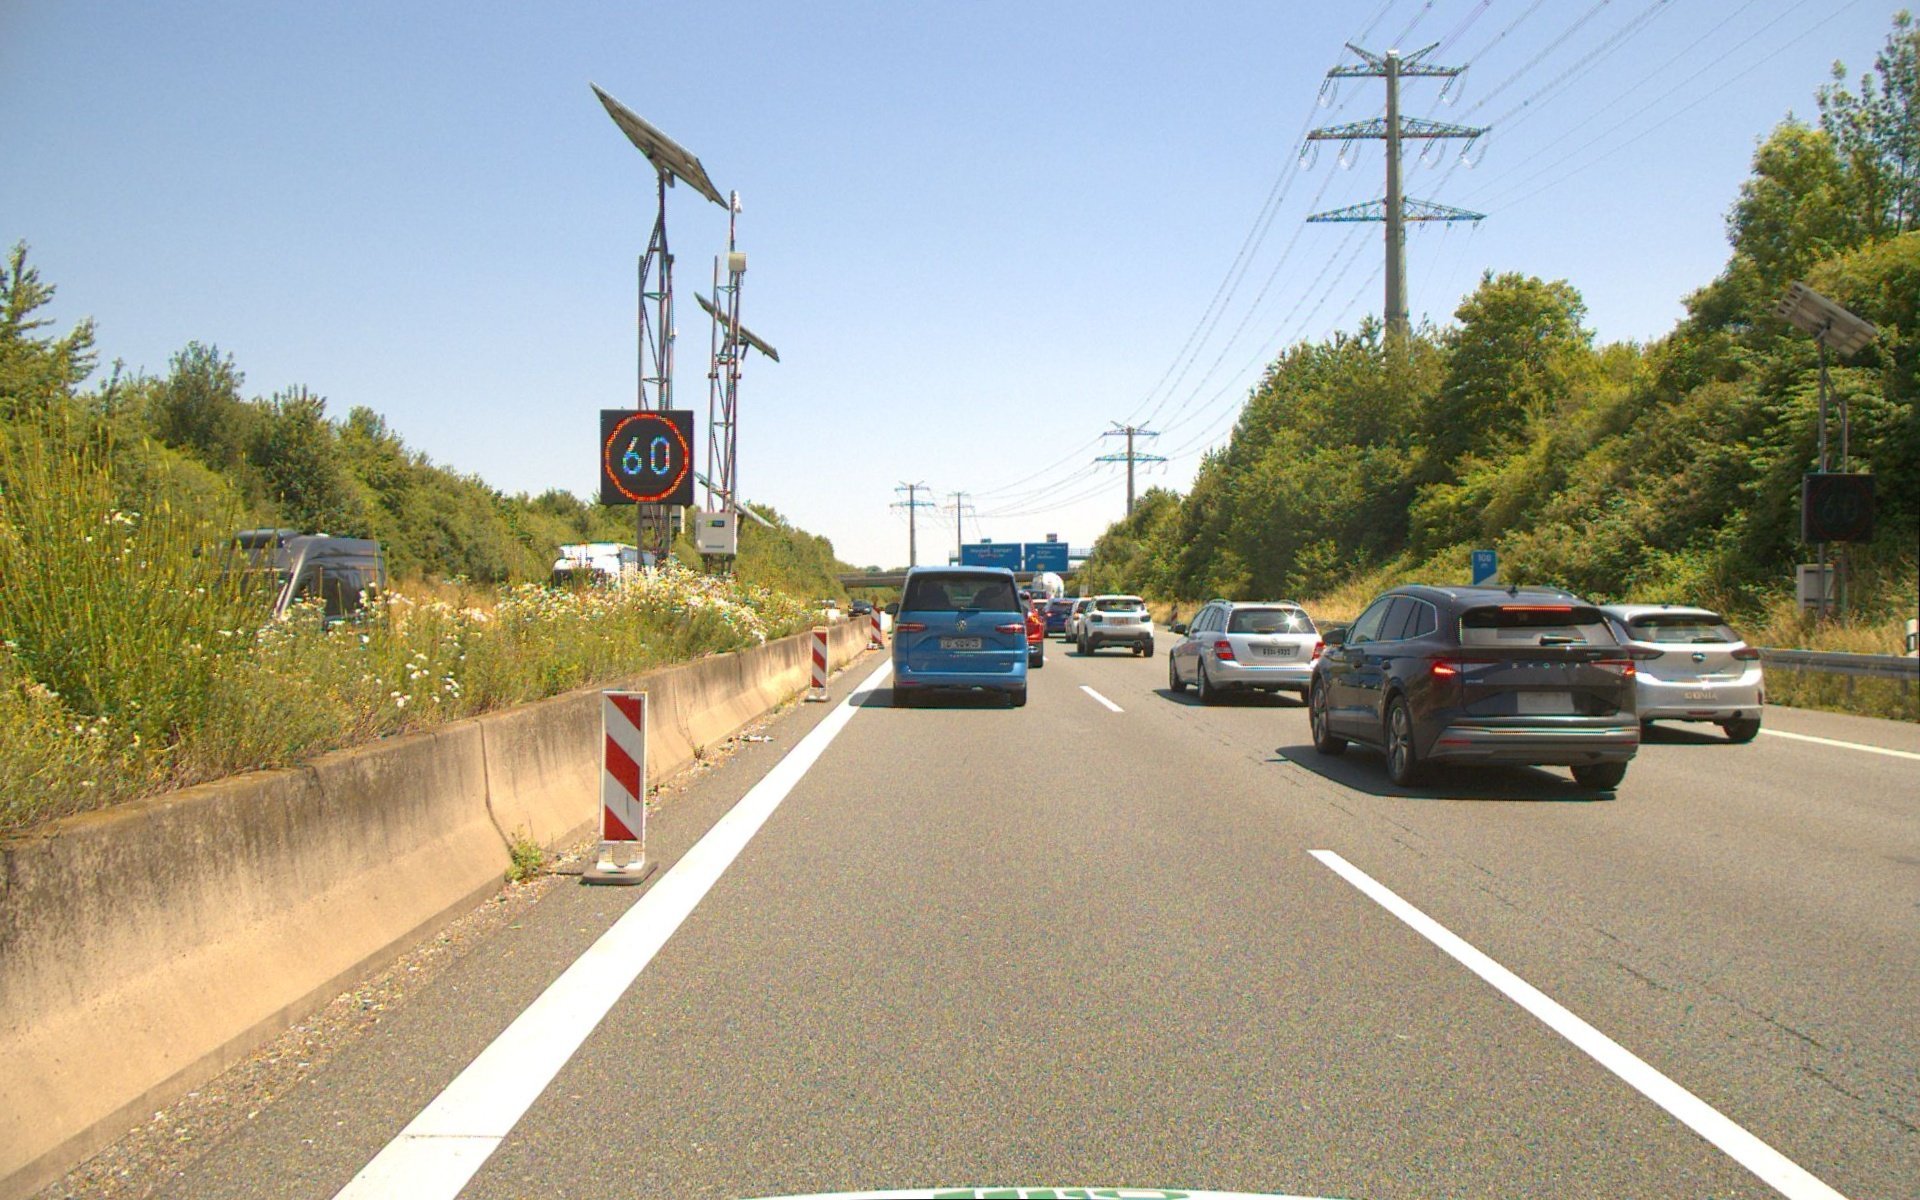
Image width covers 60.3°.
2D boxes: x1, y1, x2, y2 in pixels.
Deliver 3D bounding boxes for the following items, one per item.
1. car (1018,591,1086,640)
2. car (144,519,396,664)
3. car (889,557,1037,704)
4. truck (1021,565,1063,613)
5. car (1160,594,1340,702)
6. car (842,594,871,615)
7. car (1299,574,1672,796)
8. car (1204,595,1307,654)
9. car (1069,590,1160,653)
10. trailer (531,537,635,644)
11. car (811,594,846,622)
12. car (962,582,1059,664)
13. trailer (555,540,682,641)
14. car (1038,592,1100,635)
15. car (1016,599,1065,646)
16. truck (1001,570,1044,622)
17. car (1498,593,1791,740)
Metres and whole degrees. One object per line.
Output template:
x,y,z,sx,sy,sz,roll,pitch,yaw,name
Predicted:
3.072,0.492,55.845,1.870,1.542,4.381,1,0,-2,car
-11.196,-0.132,27.304,1.953,2.128,5.228,-1,0,0,car
-0.051,0.398,24.040,1.834,1.912,4.380,1,0,-4,car
7.503,-1.011,152.824,2.591,4.143,16.436,1,0,-1,truck
4.264,0.652,24.977,1.784,1.462,4.381,1,0,-2,car
-8.129,0.368,129.767,1.953,1.573,4.912,-1,0,0,car
4.386,0.619,14.578,1.791,1.642,4.430,1,0,-1,car
7.521,0.583,42.422,1.699,1.402,4.300,1,0,-2,car
4.007,0.532,43.390,1.870,1.534,3.920,1,0,-2,car
-15.373,-0.379,67.908,2.900,4.127,5.433,-2,0,0,trailer
-7.156,0.433,90.073,1.551,1.468,4.000,1,0,0,car
1.034,0.466,36.197,1.870,1.659,4.382,0,0,-2,car
-15.406,-0.411,75.899,2.900,4.127,13.594,-2,0,0,trailer
4.092,0.498,62.806,1.870,1.542,4.381,1,0,-2,car
3.616,1.000,75.079,1.953,2.049,3.999,1,0,-1,car
3.439,-0.231,91.953,1.953,2.771,5.678,1,0,-1,truck
7.797,0.687,19.269,1.705,1.496,4.013,1,0,-1,car
